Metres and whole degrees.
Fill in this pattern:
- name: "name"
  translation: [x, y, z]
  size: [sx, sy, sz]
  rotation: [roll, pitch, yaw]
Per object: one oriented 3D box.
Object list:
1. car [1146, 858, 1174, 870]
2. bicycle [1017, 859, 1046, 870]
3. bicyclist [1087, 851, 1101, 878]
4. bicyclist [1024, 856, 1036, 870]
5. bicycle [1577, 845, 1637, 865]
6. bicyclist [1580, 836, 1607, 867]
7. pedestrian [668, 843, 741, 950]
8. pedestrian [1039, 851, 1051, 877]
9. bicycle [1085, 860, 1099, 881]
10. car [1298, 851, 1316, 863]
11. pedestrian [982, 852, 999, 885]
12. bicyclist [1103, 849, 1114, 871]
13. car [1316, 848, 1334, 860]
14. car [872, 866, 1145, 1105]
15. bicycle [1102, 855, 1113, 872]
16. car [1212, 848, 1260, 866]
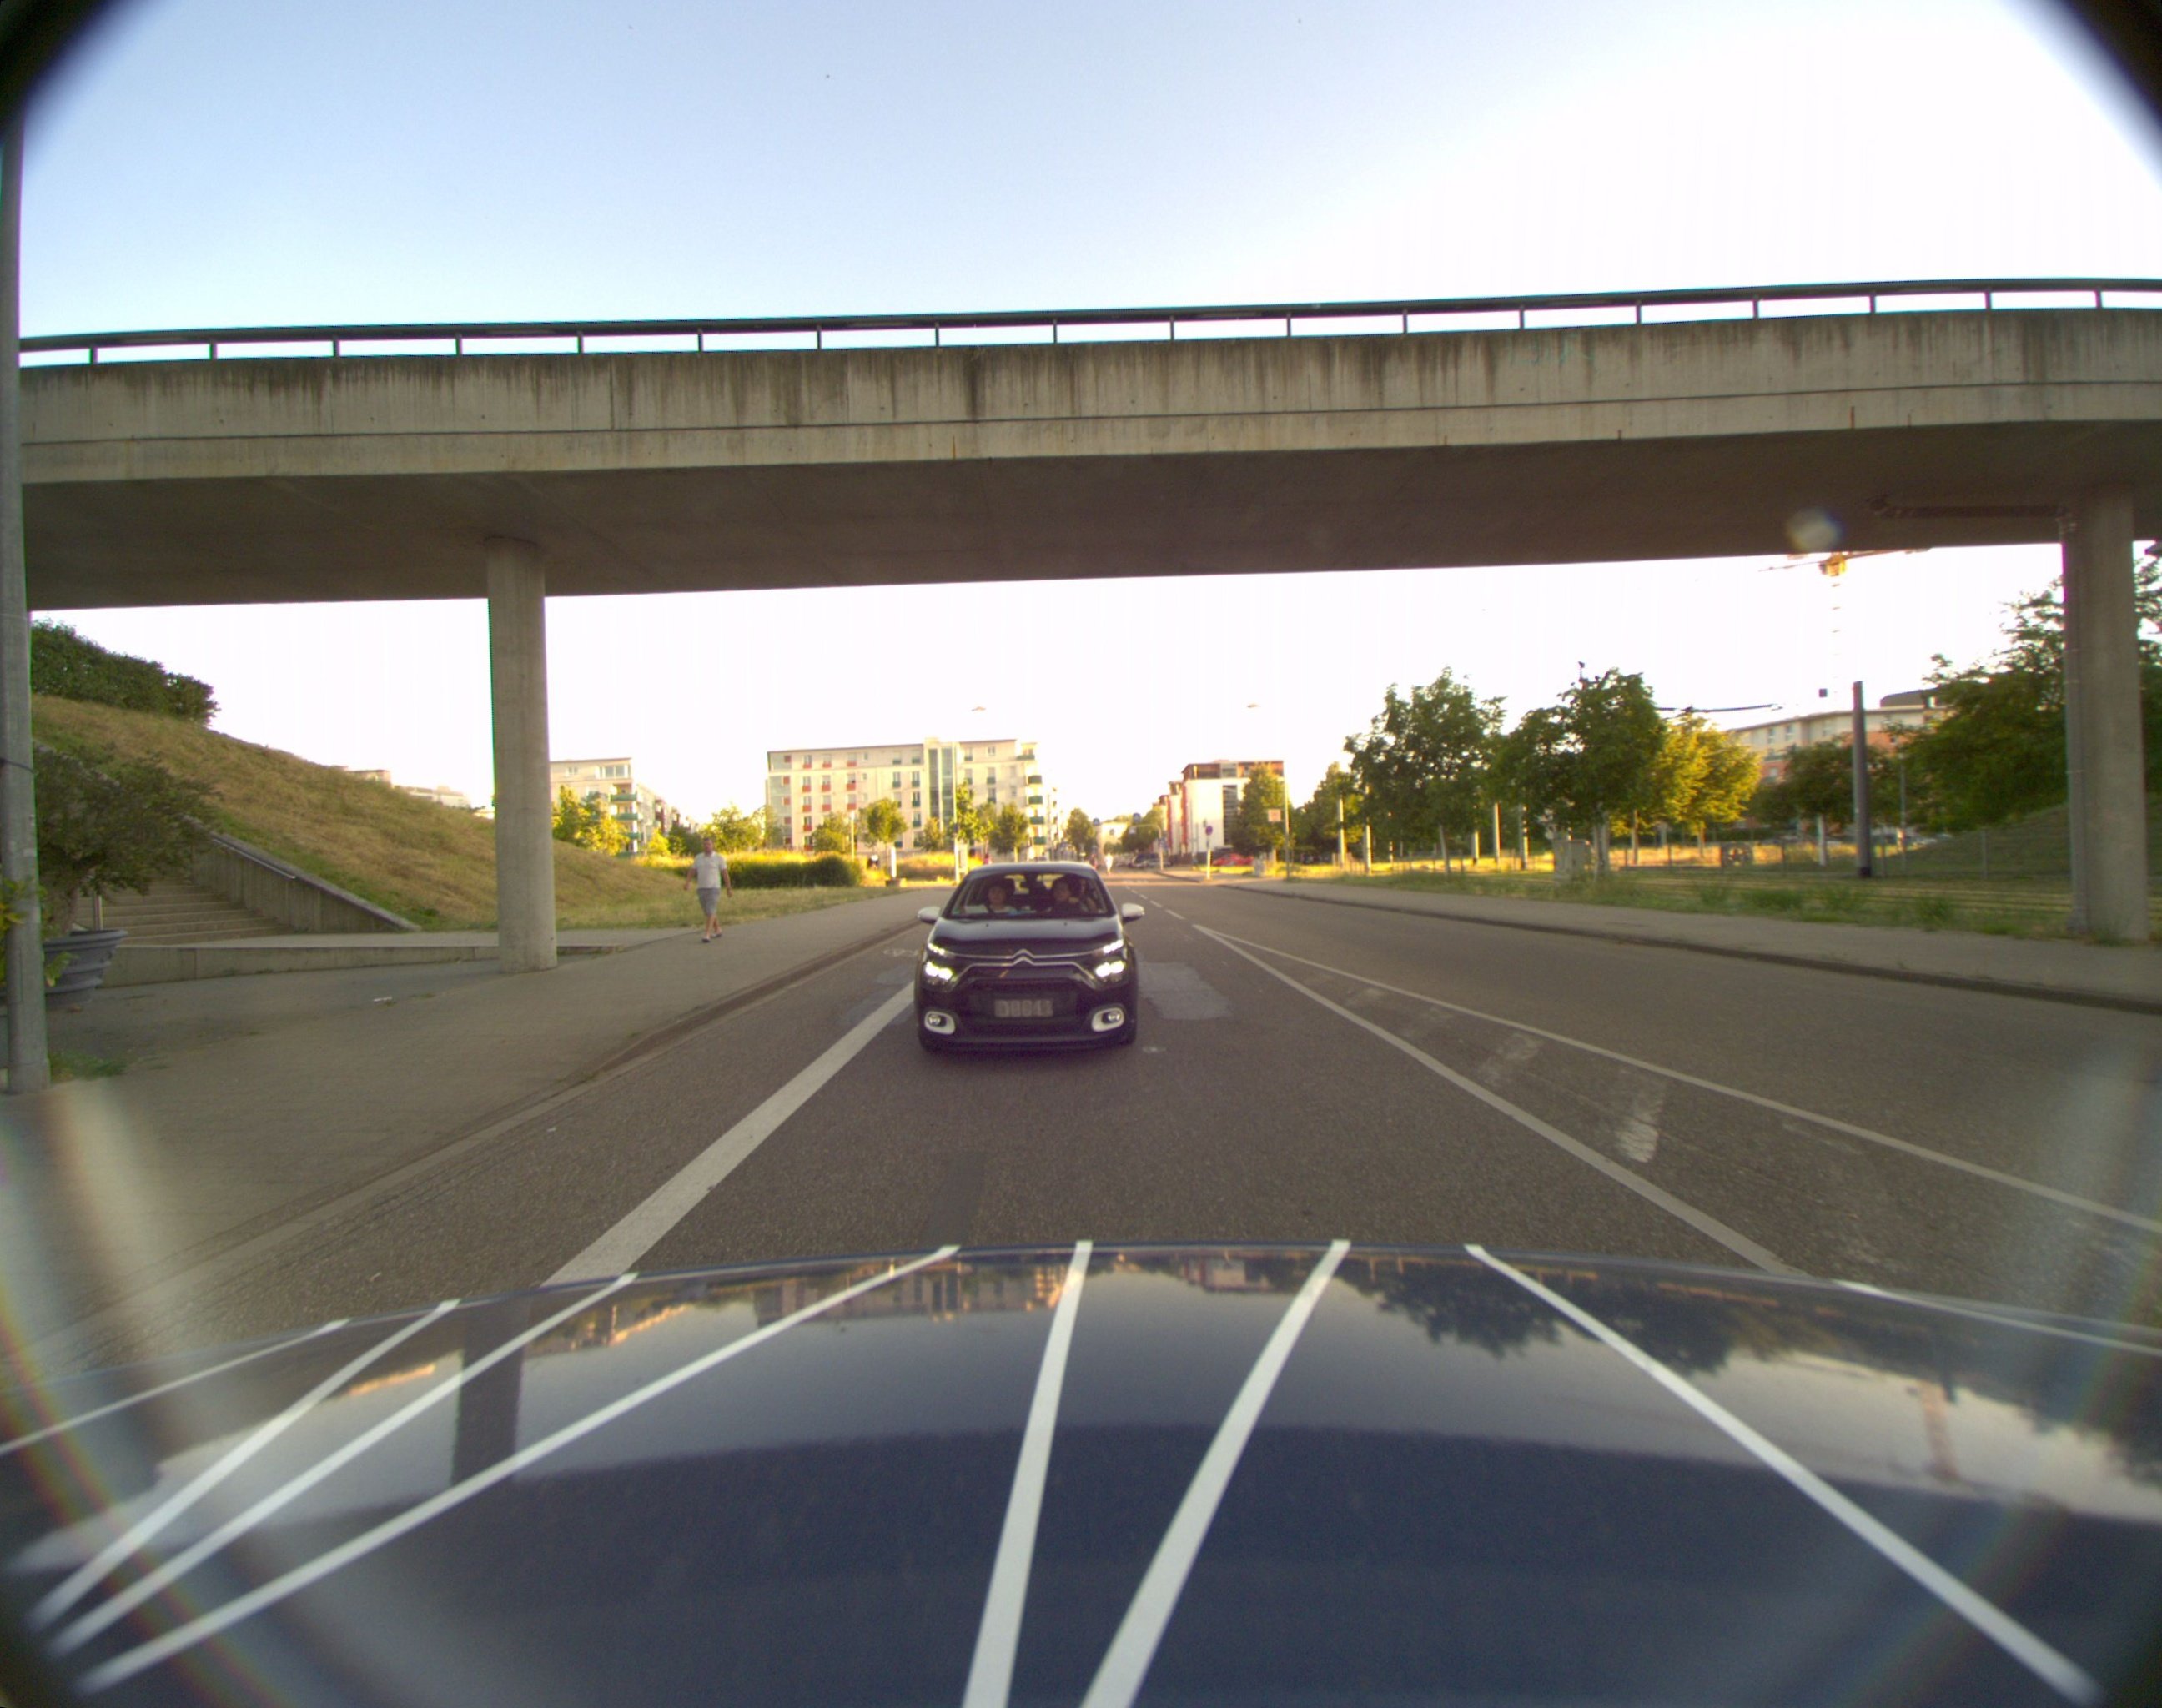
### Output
- name: "car"
  translation: [11.795, 1.505, 113.872]
  size: [3.996, 1.718, 2.000]
  rotation: [-2, 0, 2]
- name: "bicycle"
  translation: [-5.703, 1.207, 87.134]
  size: [3.489, 1.142, 0.902]
  rotation: [-2, 0, 38]
- name: "bicyclist"
  translation: [0.794, 0.624, 46.262]
  size: [0.697, 1.630, 0.852]
  rotation: [-2, 0, 5]
- name: "bicyclist"
  translation: [-5.834, 0.995, 87.194]
  size: [0.935, 1.585, 1.065]
  rotation: [-2, 0, -43]
- name: "bicycle"
  translation: [28.554, 0.067, 41.244]
  size: [2.842, 1.002, 0.655]
  rotation: [-2, 0, -4]
- name: "bicyclist"
  translation: [27.754, -0.119, 41.171]
  size: [0.910, 1.622, 0.717]
  rotation: [-2, 0, -4]
- name: "pedestrian"
  translation: [-6.283, 0.683, 12.728]
  size: [0.737, 1.714, 0.906]
  rotation: [-1, 1, -1]
- name: "pedestrian"
  translation: [-2.397, 0.634, 50.614]
  size: [0.737, 1.714, 0.532]
  rotation: [0, 0, 1]
- name: "bicycle"
  translation: [0.691, 0.971, 46.523]
  size: [0.662, 1.217, 2.440]
  rotation: [-2, 0, 4]
- name: "car"
  translation: [28.918, 0.389, 97.225]
  size: [1.942, 1.521, 4.004]
  rotation: [-2, 0, 14]
- name: "pedestrian"
  translation: [-4.619, 0.732, 38.718]
  size: [0.737, 1.620, 0.859]
  rotation: [0, 0, 2]
- name: "bicyclist"
  translation: [2.413, 0.484, 66.073]
  size: [0.883, 1.865, 1.034]
  rotation: [-2, 0, 0]
- name: "car"
  translation: [31.051, 0.003, 96.761]
  size: [1.942, 1.521, 4.004]
  rotation: [-2, 0, 14]
- name: "car"
  translation: [-0.441, 0.896, 6.973]
  size: [1.739, 1.455, 4.000]
  rotation: [-2, 0, 1]
- name: "bicycle"
  translation: [2.347, 0.811, 66.190]
  size: [0.887, 1.483, 3.322]
  rotation: [-2, 0, 3]
- name: "car"
  translation: [19.054, 0.374, 93.390]
  size: [5.516, 2.002, 2.002]
  rotation: [-2, 0, 15]
